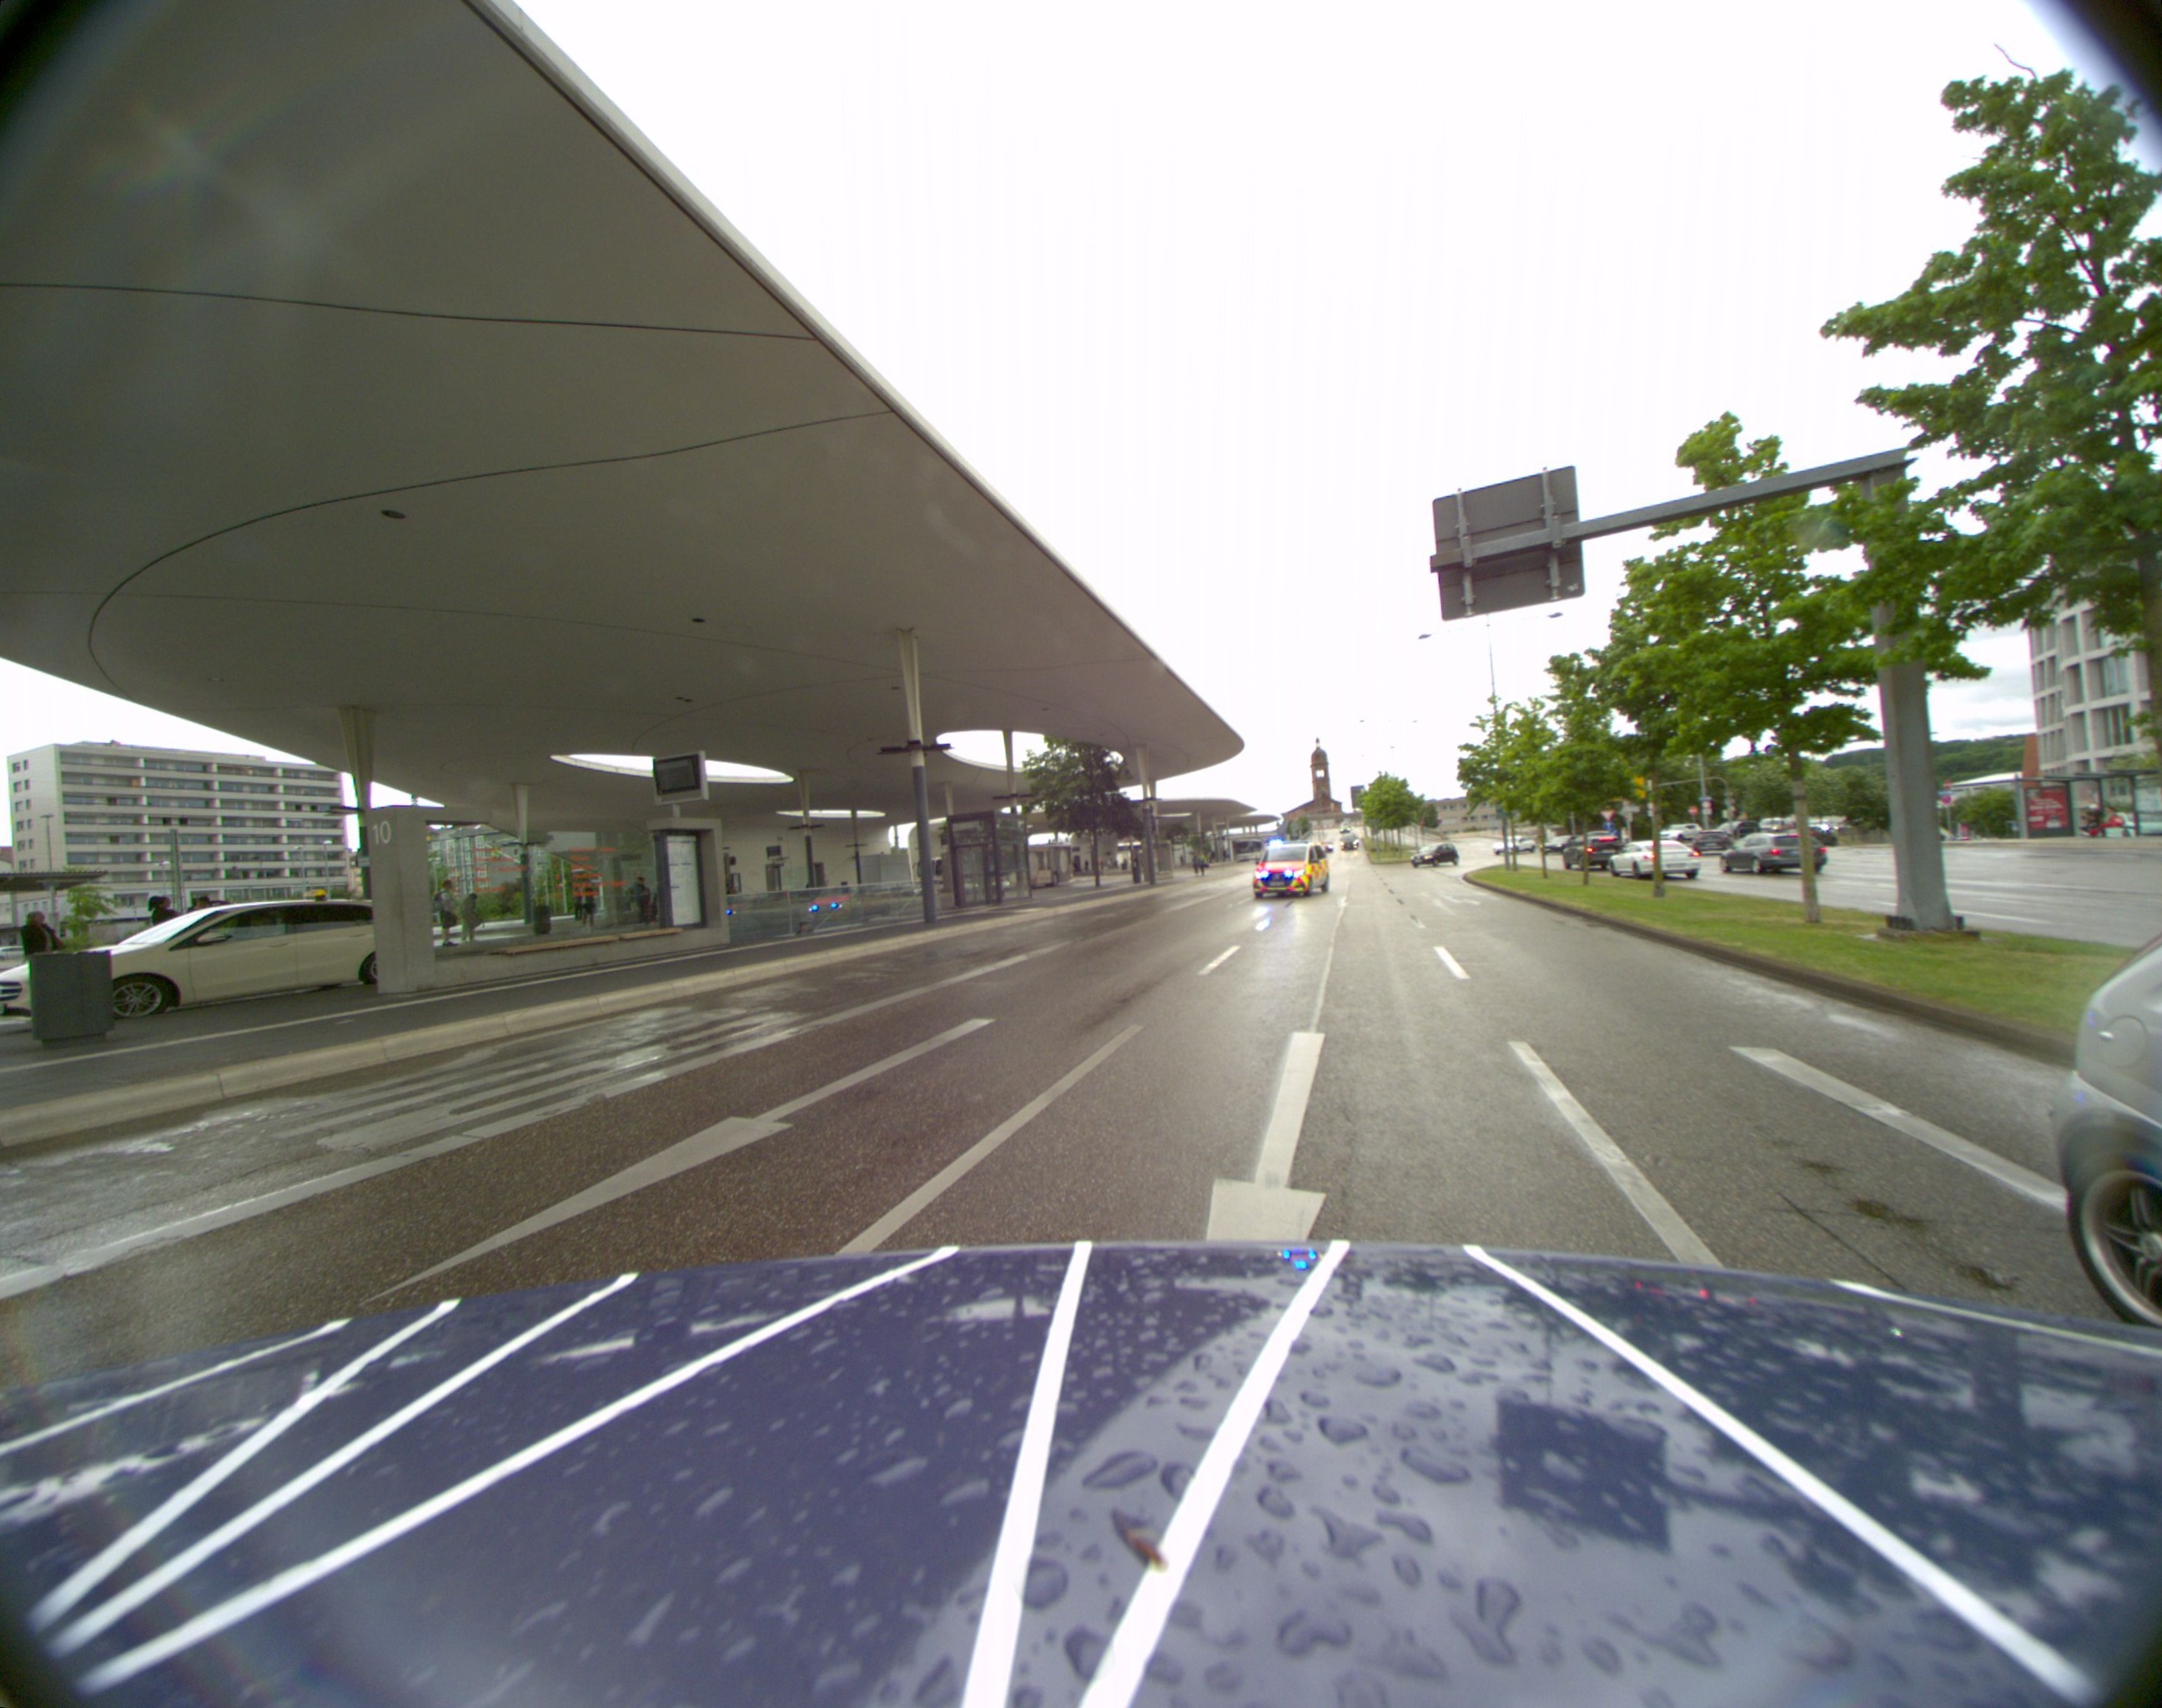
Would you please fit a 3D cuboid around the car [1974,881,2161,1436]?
[{"bbox_3d":[3.284,0.839,0.588,1.696,1.457,3.725,-2,1,19],"label":"car"}]

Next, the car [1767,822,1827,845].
[{"bbox_3d":[51.397,-1.482,54.622,1.882,1.545,4.007,-2,1,23],"label":"car"}]

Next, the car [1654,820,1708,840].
[{"bbox_3d":[53.125,-2.133,67.298,4.305,1.624,1.873,-2,1,-23],"label":"car"}]

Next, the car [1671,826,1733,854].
[{"bbox_3d":[38.176,-0.857,46.799,1.882,1.545,4.008,-2,1,23],"label":"car"}]

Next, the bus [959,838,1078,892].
[{"bbox_3d":[-3.671,0.538,49.627,2.872,3.064,11.937,-2,1,20],"label":"bus"}]

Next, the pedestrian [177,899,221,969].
[{"bbox_3d":[-19.882,1.785,17.134,0.480,1.505,0.534,-3,1,-35],"label":"pedestrian"}]

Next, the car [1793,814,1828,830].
[{"bbox_3d":[78.136,-3.424,81.386,4.164,1.624,1.872,-3,1,-35],"label":"car"}]

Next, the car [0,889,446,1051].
[{"bbox_3d":[-13.000,1.535,11.638,1.996,1.671,4.548,-2,1,20],"label":"car"}]

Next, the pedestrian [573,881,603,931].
[{"bbox_3d":[-15.354,1.620,23.685,0.478,1.505,0.536,-3,0,24],"label":"pedestrian"}]

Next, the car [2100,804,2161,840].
[{"bbox_3d":[53.346,-1.614,38.078,4.162,1.692,1.873,-2,1,-25],"label":"car"}]

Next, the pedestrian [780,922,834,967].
[{"bbox_3d":[-7.205,2.368,20.000,0.881,1.048,0.959,-2,1,23],"label":"pedestrian"}]

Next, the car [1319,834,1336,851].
[{"bbox_3d":[31.471,-1.507,97.044,1.996,2.002,4.004,-2,1,17],"label":"car"}]

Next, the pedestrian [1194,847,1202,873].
[{"bbox_3d":[8.064,0.423,52.268,0.444,1.753,0.538,-3,0,14],"label":"pedestrian"}]

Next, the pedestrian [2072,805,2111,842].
[{"bbox_3d":[42.536,-1.278,31.990,0.732,1.481,0.735,-2,1,29],"label":"pedestrian"}]

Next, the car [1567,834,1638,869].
[{"bbox_3d":[25.052,-0.141,36.671,2.007,1.545,4.171,-2,1,23],"label":"car"}]

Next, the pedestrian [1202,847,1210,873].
[{"bbox_3d":[8.586,0.427,52.150,0.445,1.753,0.538,-3,0,14],"label":"pedestrian"}]

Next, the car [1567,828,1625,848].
[{"bbox_3d":[48.143,-1.466,71.091,4.147,1.624,1.880,-3,0,25],"label":"car"}]

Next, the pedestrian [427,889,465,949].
[{"bbox_3d":[-16.687,1.700,19.968,0.478,1.505,0.536,-3,0,24],"label":"pedestrian"}]

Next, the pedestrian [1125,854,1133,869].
[{"bbox_3d":[6.892,1.082,108.180,1.024,2.002,0.880,-2,1,1],"label":"pedestrian"}]

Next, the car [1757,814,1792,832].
[{"bbox_3d":[67.025,-2.994,73.407,4.165,1.624,1.872,-3,1,-38],"label":"car"}]

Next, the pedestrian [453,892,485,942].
[{"bbox_3d":[-18.778,1.930,23.318,0.478,1.505,0.526,-3,0,24],"label":"pedestrian"}]

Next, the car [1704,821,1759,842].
[{"bbox_3d":[55.084,-1.928,64.334,4.162,1.624,1.873,-2,1,-23],"label":"car"}]

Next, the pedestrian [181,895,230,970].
[{"bbox_3d":[-18.325,1.642,15.908,0.534,1.505,0.480,-3,0,25],"label":"pedestrian"}]

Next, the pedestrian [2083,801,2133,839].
[{"bbox_3d":[42.072,-1.379,31.138,0.982,1.481,0.735,-2,1,30],"label":"pedestrian"}]

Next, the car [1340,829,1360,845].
[{"bbox_3d":[34.512,-2.177,97.624,1.996,2.002,4.004,-2,1,15],"label":"car"}]

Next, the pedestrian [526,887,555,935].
[{"bbox_3d":[-17.605,1.862,24.750,0.478,1.505,0.526,-3,0,24],"label":"pedestrian"}]

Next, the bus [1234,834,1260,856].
[{"bbox_3d":[25.040,-1.352,114.768,3.579,3.080,10.763,-3,0,12],"label":"bus"}]

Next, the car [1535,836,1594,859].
[{"bbox_3d":[38.001,-0.499,59.697,4.162,1.692,1.873,-2,1,-23],"label":"car"}]

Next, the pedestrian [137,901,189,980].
[{"bbox_3d":[-18.196,1.711,15.069,0.534,1.505,0.480,-3,0,25],"label":"pedestrian"}]

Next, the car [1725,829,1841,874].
[{"bbox_3d":[25.682,-0.128,27.992,1.696,1.457,4.458,-2,1,23],"label":"car"}]

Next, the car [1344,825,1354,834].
[{"bbox_3d":[53.663,-4.889,151.933,1.547,1.551,3.654,-2,1,15],"label":"car"}]

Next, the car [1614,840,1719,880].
[{"bbox_3d":[21.884,0.176,28.601,2.007,1.345,4.170,-2,1,21],"label":"car"}]

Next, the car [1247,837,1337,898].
[{"bbox_3d":[7.801,0.423,27.709,1.995,2.002,5.070,-2,1,29],"label":"car"}]

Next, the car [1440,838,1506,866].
[{"bbox_3d":[27.051,-0.146,52.414,4.162,1.692,1.873,-2,1,-25],"label":"car"}]

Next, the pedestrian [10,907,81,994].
[{"bbox_3d":[-20.370,1.878,14.953,0.640,1.586,0.742,-1,1,35],"label":"pedestrian"}]

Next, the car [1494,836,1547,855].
[{"bbox_3d":[38.311,-0.750,66.215,4.052,1.550,1.809,-2,1,-19],"label":"car"}]
